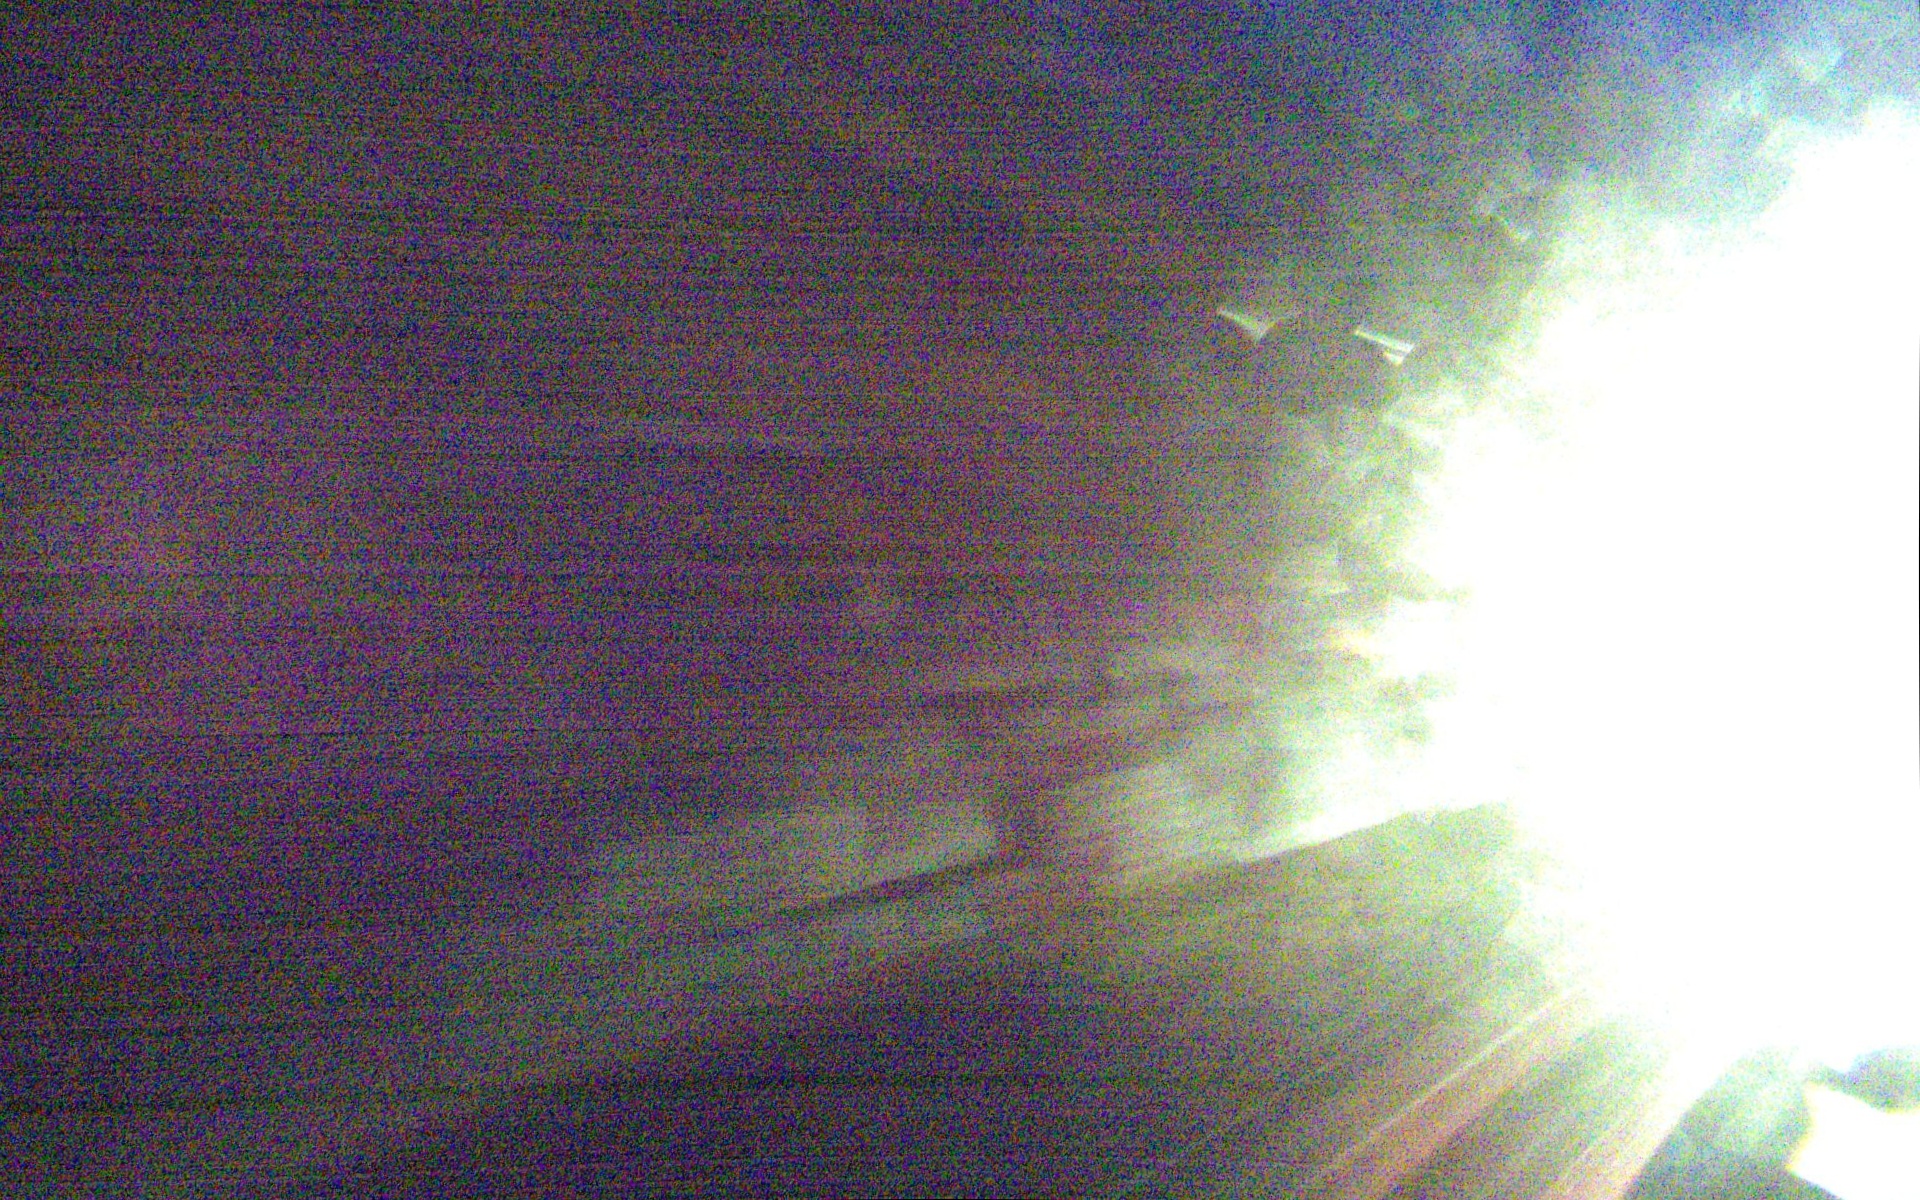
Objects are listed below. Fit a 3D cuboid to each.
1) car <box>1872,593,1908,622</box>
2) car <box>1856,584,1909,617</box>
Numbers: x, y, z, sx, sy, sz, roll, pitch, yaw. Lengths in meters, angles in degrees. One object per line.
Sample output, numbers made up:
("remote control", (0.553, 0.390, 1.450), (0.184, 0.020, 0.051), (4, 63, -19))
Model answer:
("car", (70.725, 0.552, 76.973), (1.993, 2.039, 3.939), (0, 1, 42))
("car", (52.204, -0.013, 57.308), (1.699, 1.794, 3.950), (0, 1, 35))
